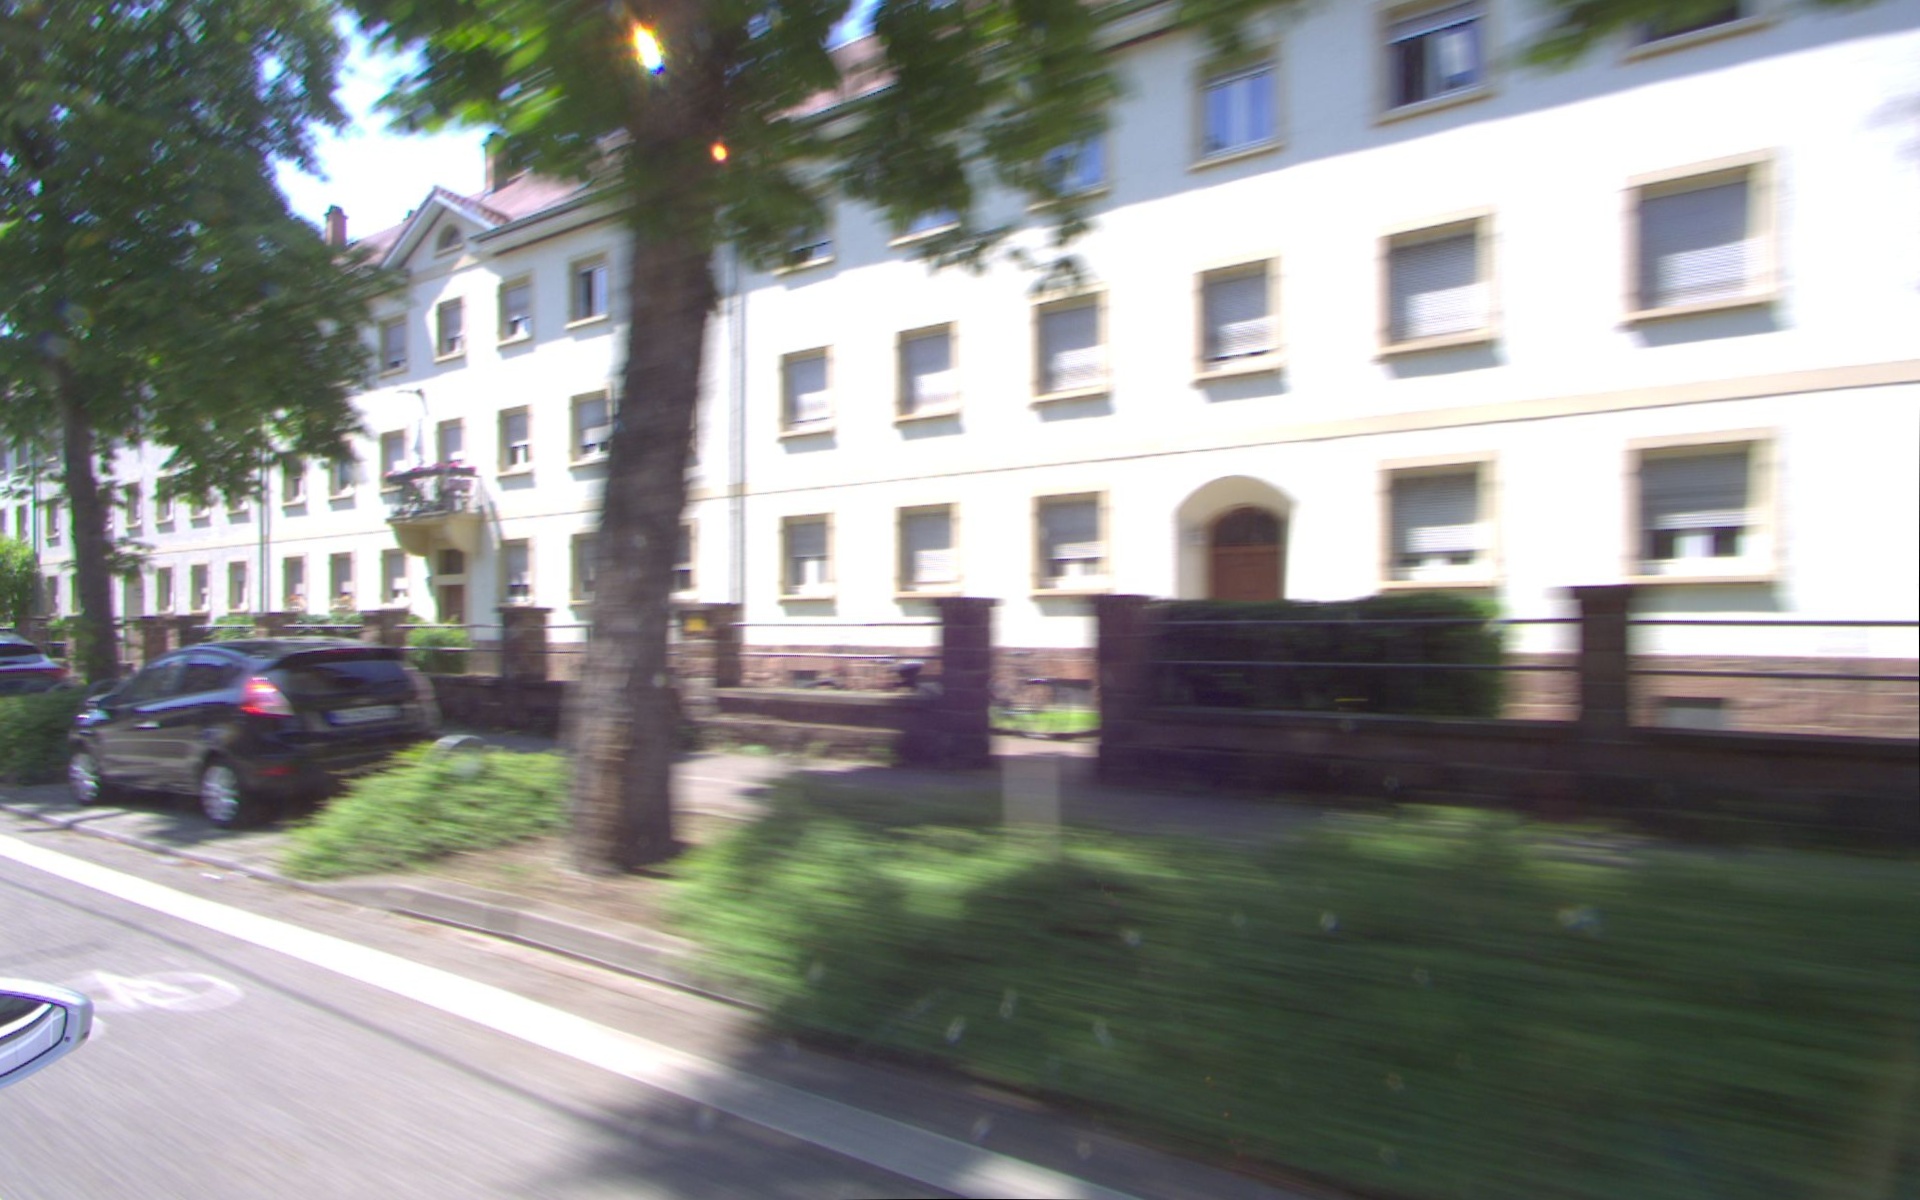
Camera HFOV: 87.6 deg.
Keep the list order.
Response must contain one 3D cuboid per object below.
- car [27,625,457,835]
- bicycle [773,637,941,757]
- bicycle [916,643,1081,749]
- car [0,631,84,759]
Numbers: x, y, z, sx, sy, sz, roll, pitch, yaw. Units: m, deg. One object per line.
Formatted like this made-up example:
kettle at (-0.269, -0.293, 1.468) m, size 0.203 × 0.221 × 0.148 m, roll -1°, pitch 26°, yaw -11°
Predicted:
car at (-6.520, 1.000, 9.015) m, size 3.940 × 1.534 × 1.655 m, roll -1°, pitch -2°, yaw 30°
bicycle at (-1.190, 1.050, 11.356) m, size 1.941 × 1.226 × 0.595 m, roll -1°, pitch 1°, yaw 33°
bicycle at (0.441, 1.113, 12.057) m, size 1.942 × 1.141 × 0.595 m, roll -1°, pitch 2°, yaw 34°
car at (-13.754, 1.198, 13.436) m, size 4.387 × 1.572 × 1.730 m, roll -1°, pitch -2°, yaw 31°
